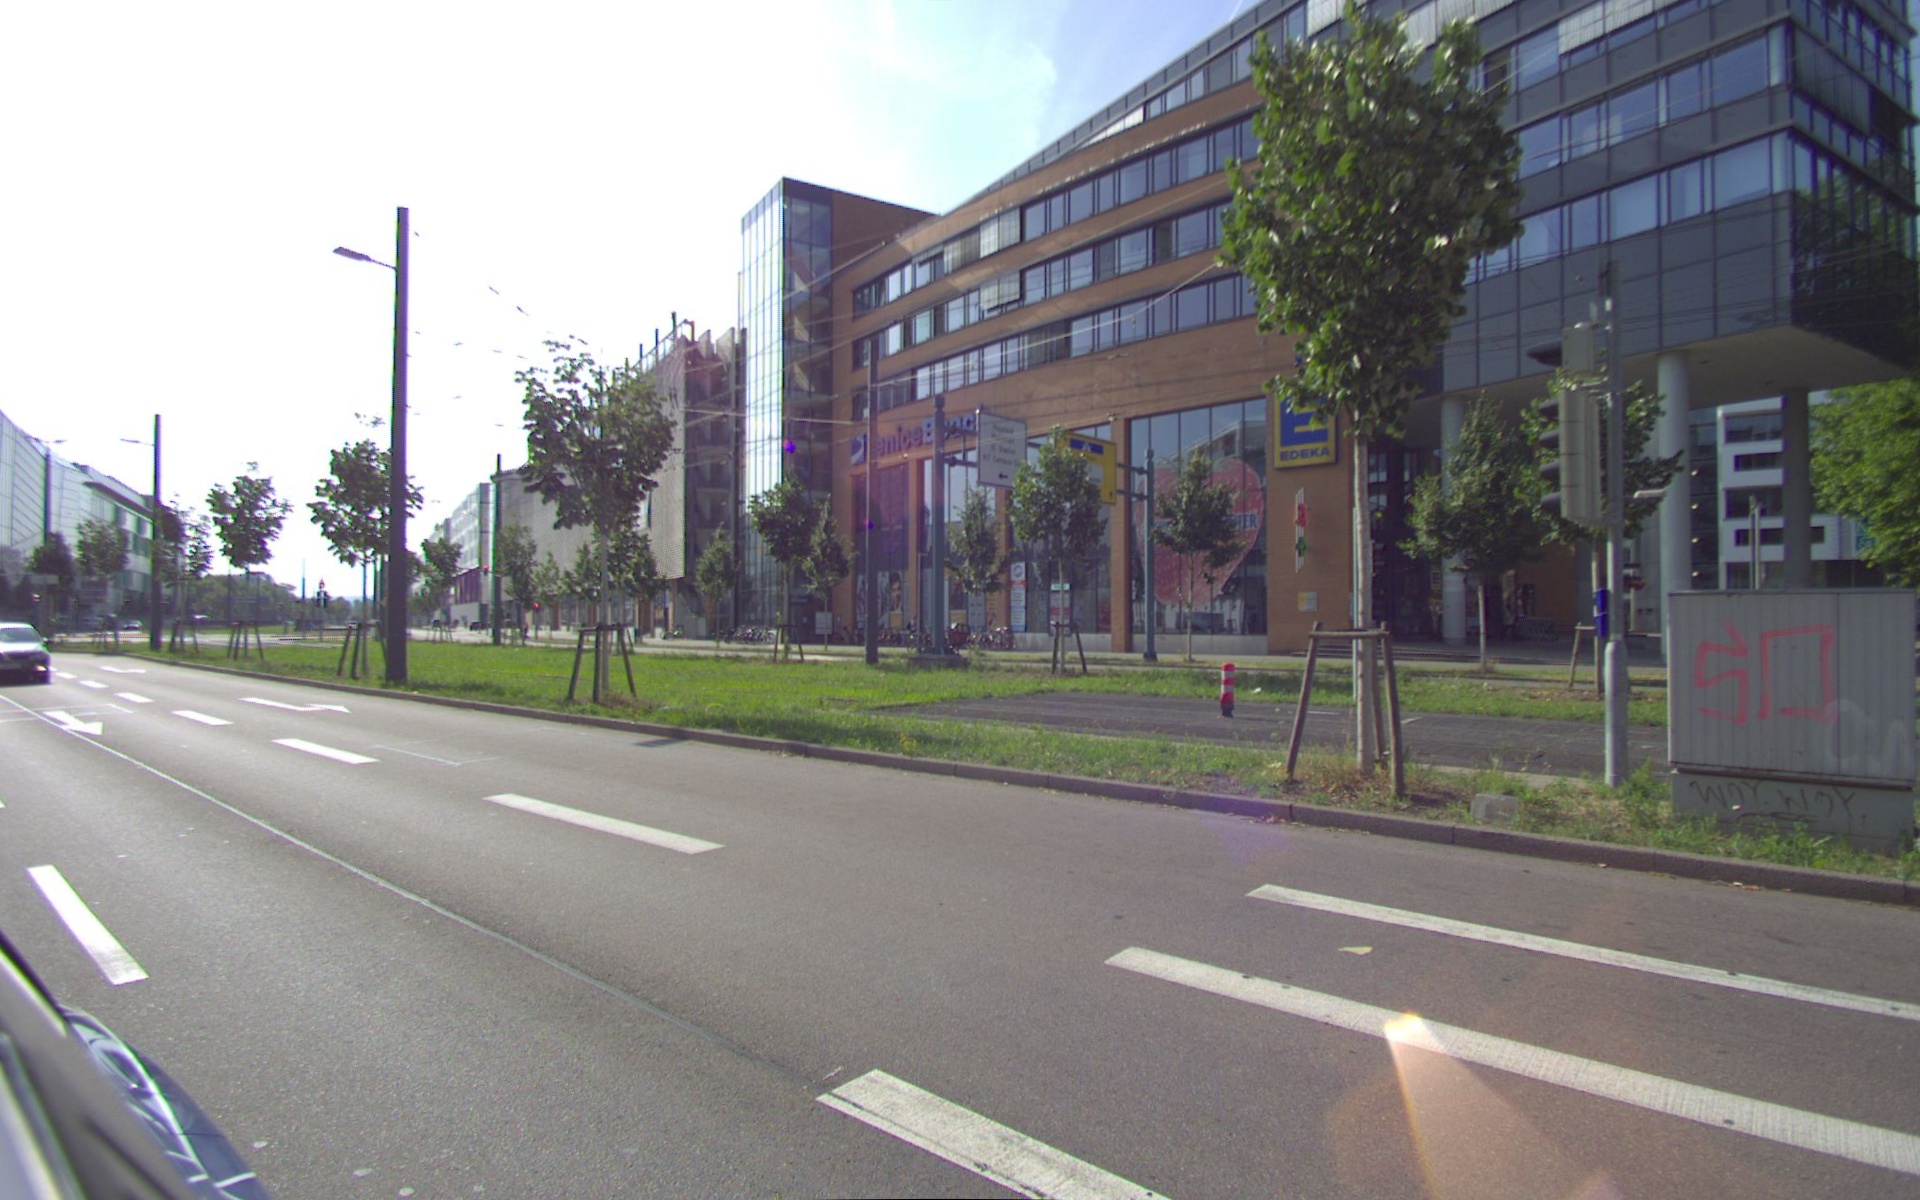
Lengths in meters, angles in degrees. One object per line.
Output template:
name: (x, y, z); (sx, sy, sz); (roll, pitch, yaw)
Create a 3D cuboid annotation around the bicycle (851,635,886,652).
bicycle: (-5.341, 2.518, 58.986); (2.021, 0.928, 0.574); (1, -2, -37)

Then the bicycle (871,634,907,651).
bicycle: (-3.991, 2.378, 57.145); (2.021, 0.928, 0.574); (1, -2, -37)

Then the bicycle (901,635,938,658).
bicycle: (-1.834, 2.109, 46.032); (0.710, 0.914, 1.657); (-1, 1, 44)

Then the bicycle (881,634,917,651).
bicycle: (-3.402, 2.367, 56.646); (2.021, 0.928, 0.574); (1, -2, -37)

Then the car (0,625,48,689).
car: (-23.432, 1.339, 24.496); (3.894, 1.430, 1.621); (-1, -2, 42)

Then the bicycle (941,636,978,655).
bicycle: (-0.021, 2.341, 52.586); (2.021, 0.928, 0.574); (1, -2, -37)

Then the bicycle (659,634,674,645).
bicycle: (-21.773, 2.940, 75.014); (1.007, 0.758, 0.362); (0, -2, -31)

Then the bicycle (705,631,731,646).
bicycle: (-15.823, 2.507, 66.133); (1.557, 0.947, 0.474); (1, -2, -33)

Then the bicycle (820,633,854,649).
bicycle: (-7.516, 2.499, 61.961); (2.021, 0.928, 0.574); (1, -2, -37)

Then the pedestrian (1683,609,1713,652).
pedestrian: (27.163, 1.127, 37.240); (0.608, 1.554, 0.665); (1, -2, -30)

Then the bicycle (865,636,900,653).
bicycle: (-4.428, 2.545, 57.912); (2.021, 0.928, 0.574); (1, -2, -37)

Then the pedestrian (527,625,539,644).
pedestrian: (-35.330, 2.835, 83.740); (0.751, 1.591, 0.591); (1, -2, -36)

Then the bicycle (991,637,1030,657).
bicycle: (2.462, 2.293, 49.380); (2.021, 0.928, 0.574); (1, -2, -37)

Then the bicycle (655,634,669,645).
bicycle: (-22.386, 2.965, 76.040); (0.989, 0.758, 0.453); (0, -2, -31)

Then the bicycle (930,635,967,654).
bicycle: (-0.610, 2.328, 53.271); (2.021, 0.928, 0.574); (1, -2, -37)

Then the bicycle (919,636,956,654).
bicycle: (-1.206, 2.398, 53.935); (2.021, 0.928, 0.574); (1, -2, -37)

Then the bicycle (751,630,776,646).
bicycle: (-12.358, 2.385, 63.656); (1.557, 0.947, 0.412); (1, -2, -35)

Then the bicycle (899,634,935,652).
bicycle: (-2.327, 2.346, 55.249); (2.021, 0.928, 0.574); (1, -2, -37)

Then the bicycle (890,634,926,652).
bicycle: (-2.886, 2.377, 55.979); (2.021, 0.928, 0.574); (1, -2, -37)

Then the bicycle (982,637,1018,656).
bicycle: (1.984, 2.288, 49.942); (2.021, 0.928, 0.381); (1, -2, -37)

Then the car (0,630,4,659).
car: (-45.875, 2.073, 47.197); (3.164, 1.353, 1.566); (-1, -2, 41)

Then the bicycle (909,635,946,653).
bicycle: (-1.742, 2.345, 54.611); (2.021, 0.928, 0.574); (1, -2, -37)

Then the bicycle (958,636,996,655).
bicycle: (0.873, 2.302, 51.160); (2.021, 0.928, 0.574); (1, -2, -37)
